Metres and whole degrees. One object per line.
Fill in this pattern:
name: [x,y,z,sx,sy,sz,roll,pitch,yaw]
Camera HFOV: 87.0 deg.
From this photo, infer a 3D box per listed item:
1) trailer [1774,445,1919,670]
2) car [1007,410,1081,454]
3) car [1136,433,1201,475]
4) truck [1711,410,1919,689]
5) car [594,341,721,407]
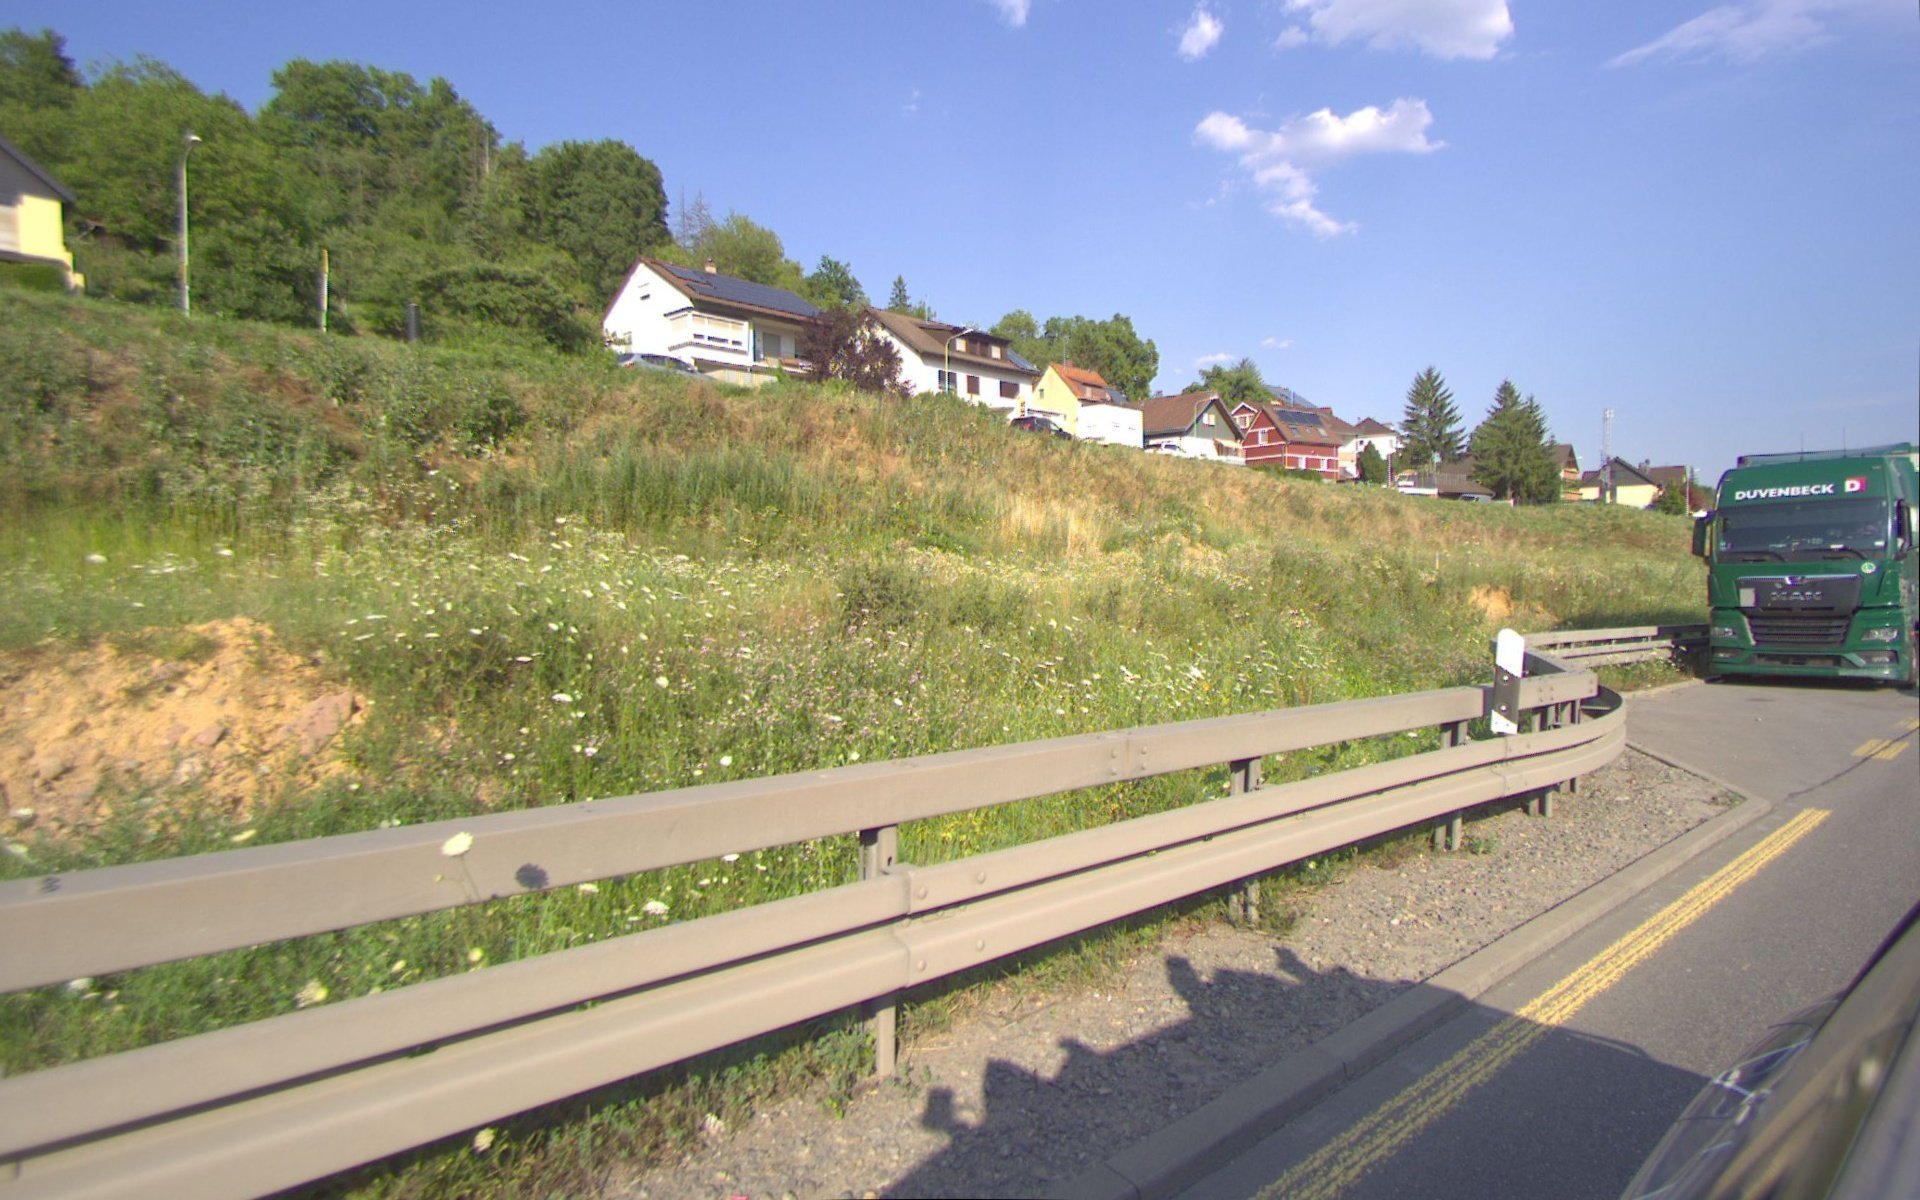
trailer: [21.015,-0.827,22.409,11.868,3.983,2.552,-1,0,-41]
car: [4.462,-8.805,53.400,1.991,1.661,3.942,0,0,41]
car: [12.887,-8.967,62.572,3.931,2.039,1.996,-1,0,-42]
truck: [15.509,-0.774,17.669,5.964,4.066,2.545,-1,0,-40]
car: [-10.872,-8.078,36.486,1.994,1.460,3.936,0,0,45]
